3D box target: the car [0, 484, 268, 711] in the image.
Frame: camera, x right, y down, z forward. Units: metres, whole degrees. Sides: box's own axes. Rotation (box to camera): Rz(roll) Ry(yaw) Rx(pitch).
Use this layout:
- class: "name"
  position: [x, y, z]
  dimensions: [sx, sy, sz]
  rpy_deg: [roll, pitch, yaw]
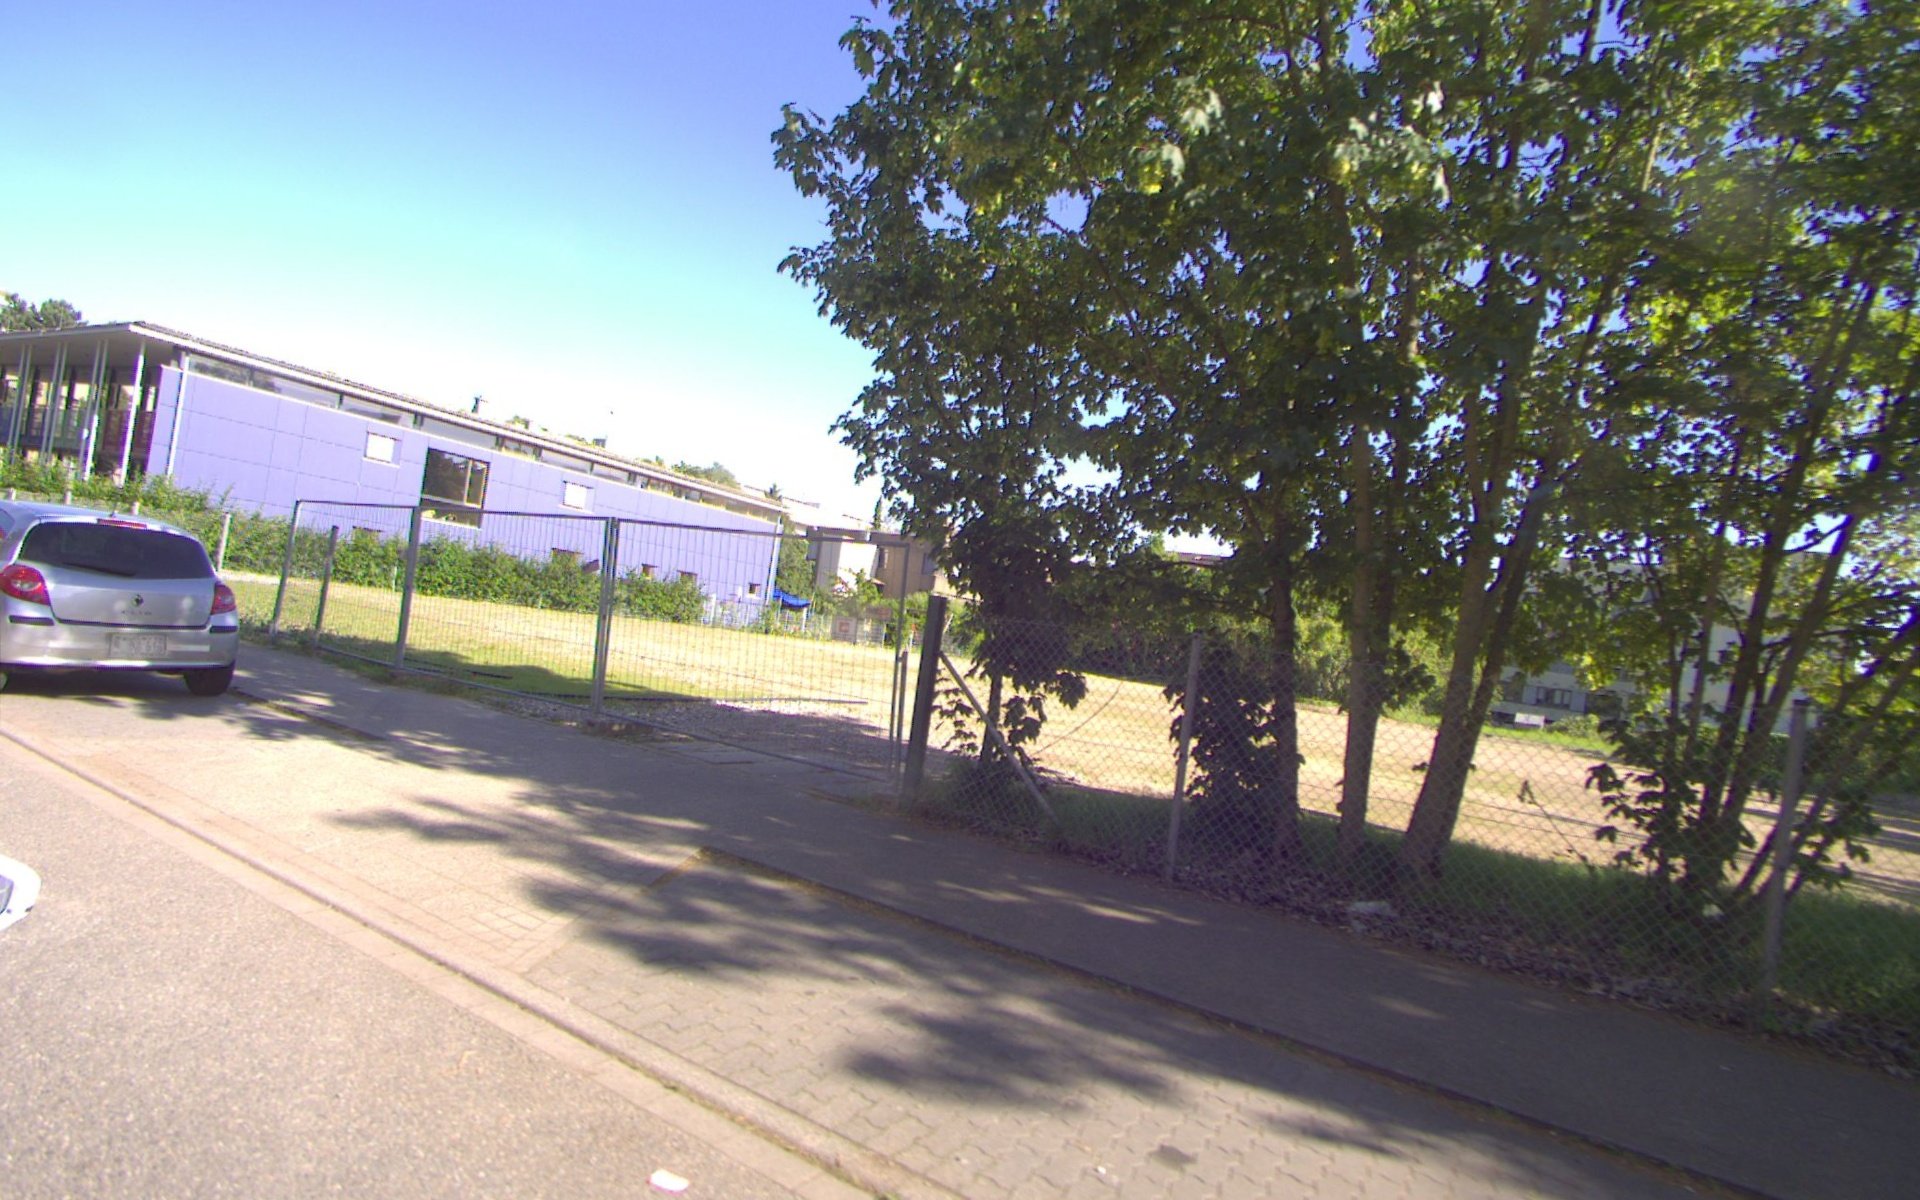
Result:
- class: "car"
  position: [-8.034, -0.153, 8.868]
  dimensions: [3.934, 1.530, 1.666]
  rpy_deg: [9, -1, 33]

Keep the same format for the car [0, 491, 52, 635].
- class: "car"
  position: [-12.211, -0.645, 11.399]
  dimensions: [4.011, 1.511, 1.691]
  rpy_deg: [6, -2, 32]
